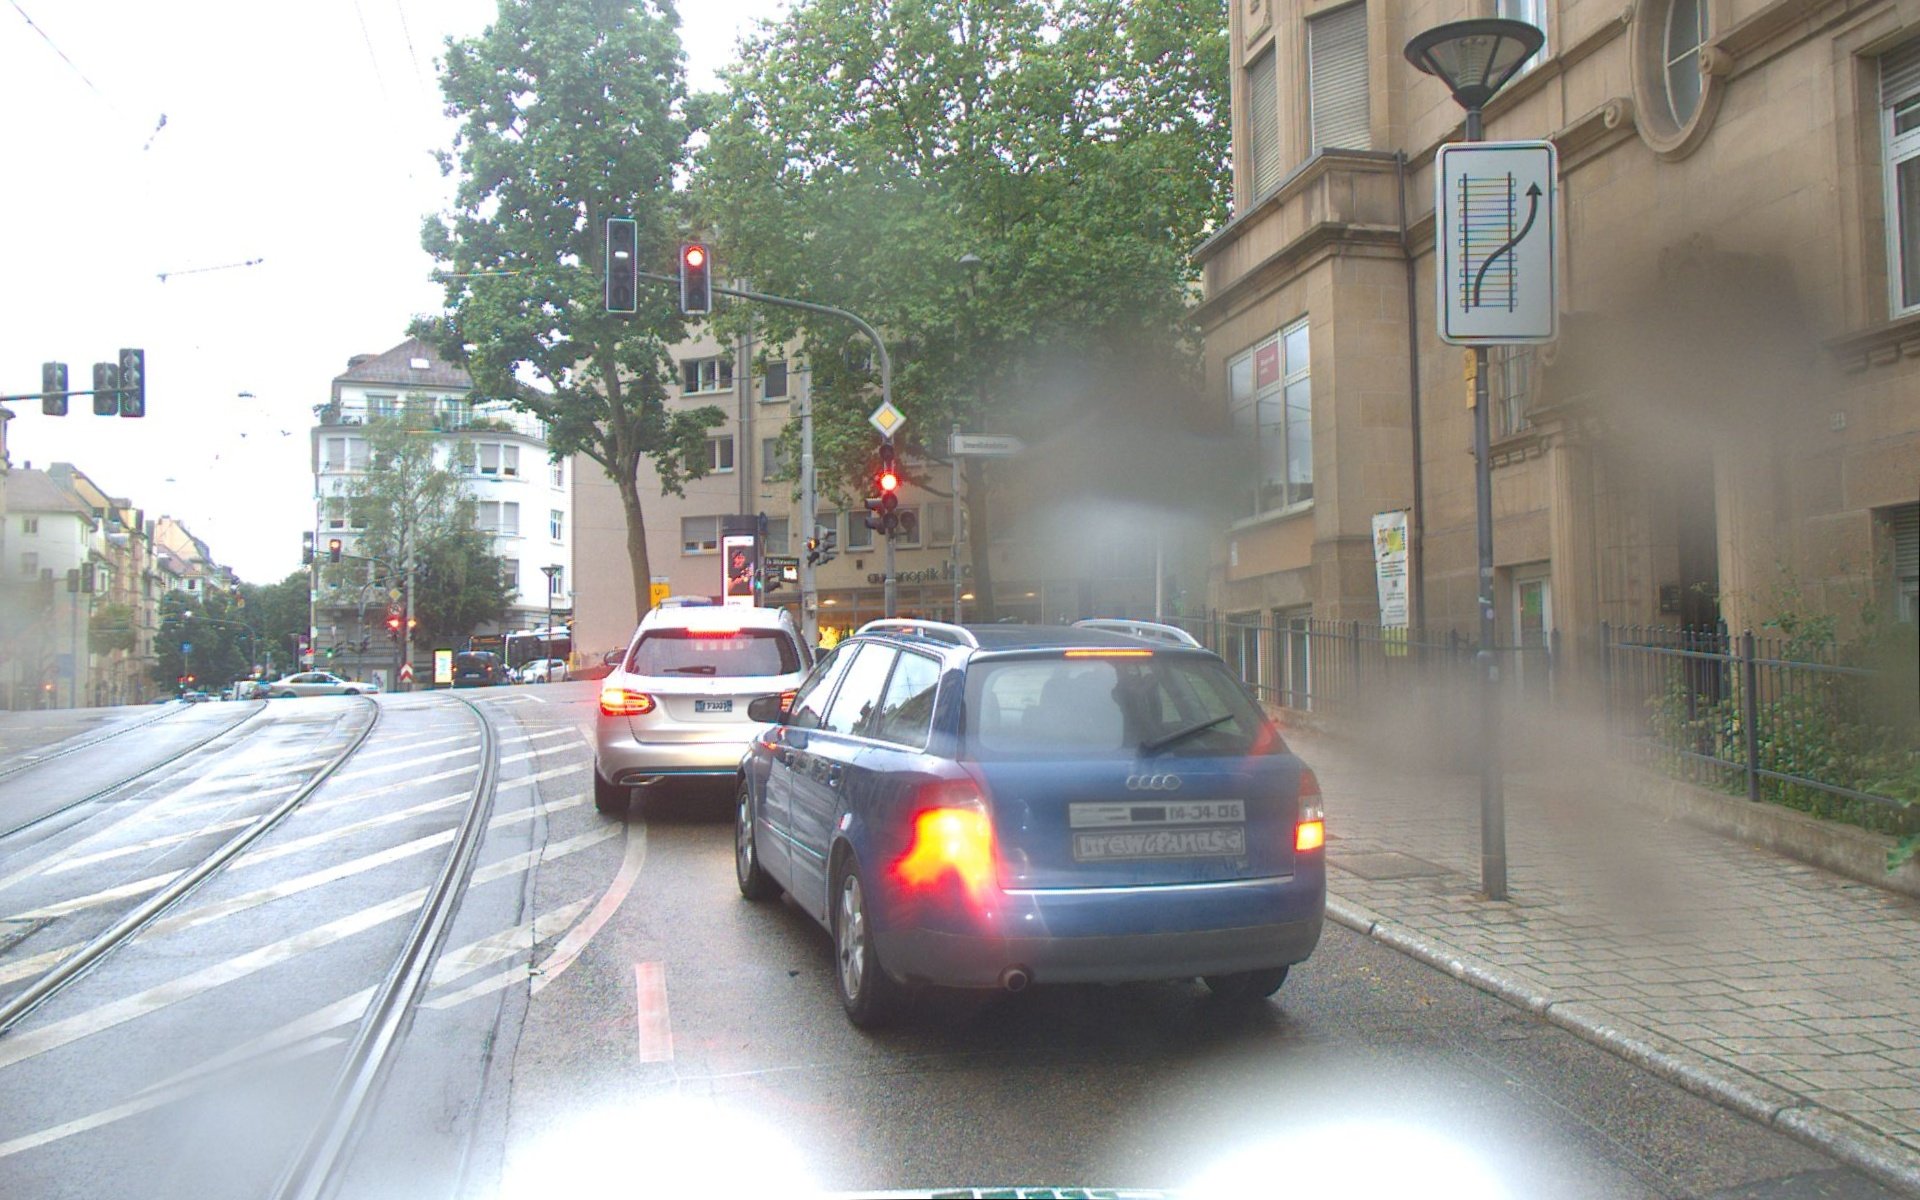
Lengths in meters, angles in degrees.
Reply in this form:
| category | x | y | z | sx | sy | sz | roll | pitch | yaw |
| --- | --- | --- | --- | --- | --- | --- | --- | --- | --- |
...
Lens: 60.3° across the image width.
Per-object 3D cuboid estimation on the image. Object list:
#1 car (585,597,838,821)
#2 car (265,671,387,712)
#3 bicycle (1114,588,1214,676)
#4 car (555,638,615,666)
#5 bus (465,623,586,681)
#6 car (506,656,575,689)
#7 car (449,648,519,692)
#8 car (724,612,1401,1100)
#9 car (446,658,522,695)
| category | x | y | z | sx | sy | sz | roll | pitch | yaw |
| --- | --- | --- | --- | --- | --- | --- | --- | --- | --- |
| car | -1.904 | 0.728 | 12.894 | 1.678 | 1.481 | 3.546 | 0 | 0 | -8 |
| car | -27.482 | 3.972 | 71.802 | 4.561 | 1.537 | 1.798 | -1 | 0 | -6 |
| bicycle | 2.929 | 0.452 | 23.801 | 1.278 | 1.194 | 0.524 | -3 | 0 | -13 |
| car | -22.934 | 3.166 | 101.265 | 1.756 | 1.536 | 4.002 | -1 | 0 | 17 |
| bus | -24.583 | 2.912 | 94.036 | 2.793 | 2.911 | 8.740 | -1 | 0 | 13 |
| car | -22.305 | 3.834 | 88.081 | 1.756 | 1.536 | 4.002 | -1 | 0 | 17 |
| car | -19.447 | 2.851 | 67.715 | 1.758 | 1.536 | 3.999 | -3 | 0 | -2 |
| car | 0.105 | 0.797 | 7.226 | 1.683 | 1.440 | 4.017 | 0 | 0 | -17 |
| car | -23.917 | 3.812 | 83.159 | 1.756 | 1.642 | 4.002 | -1 | 0 | 17 |
